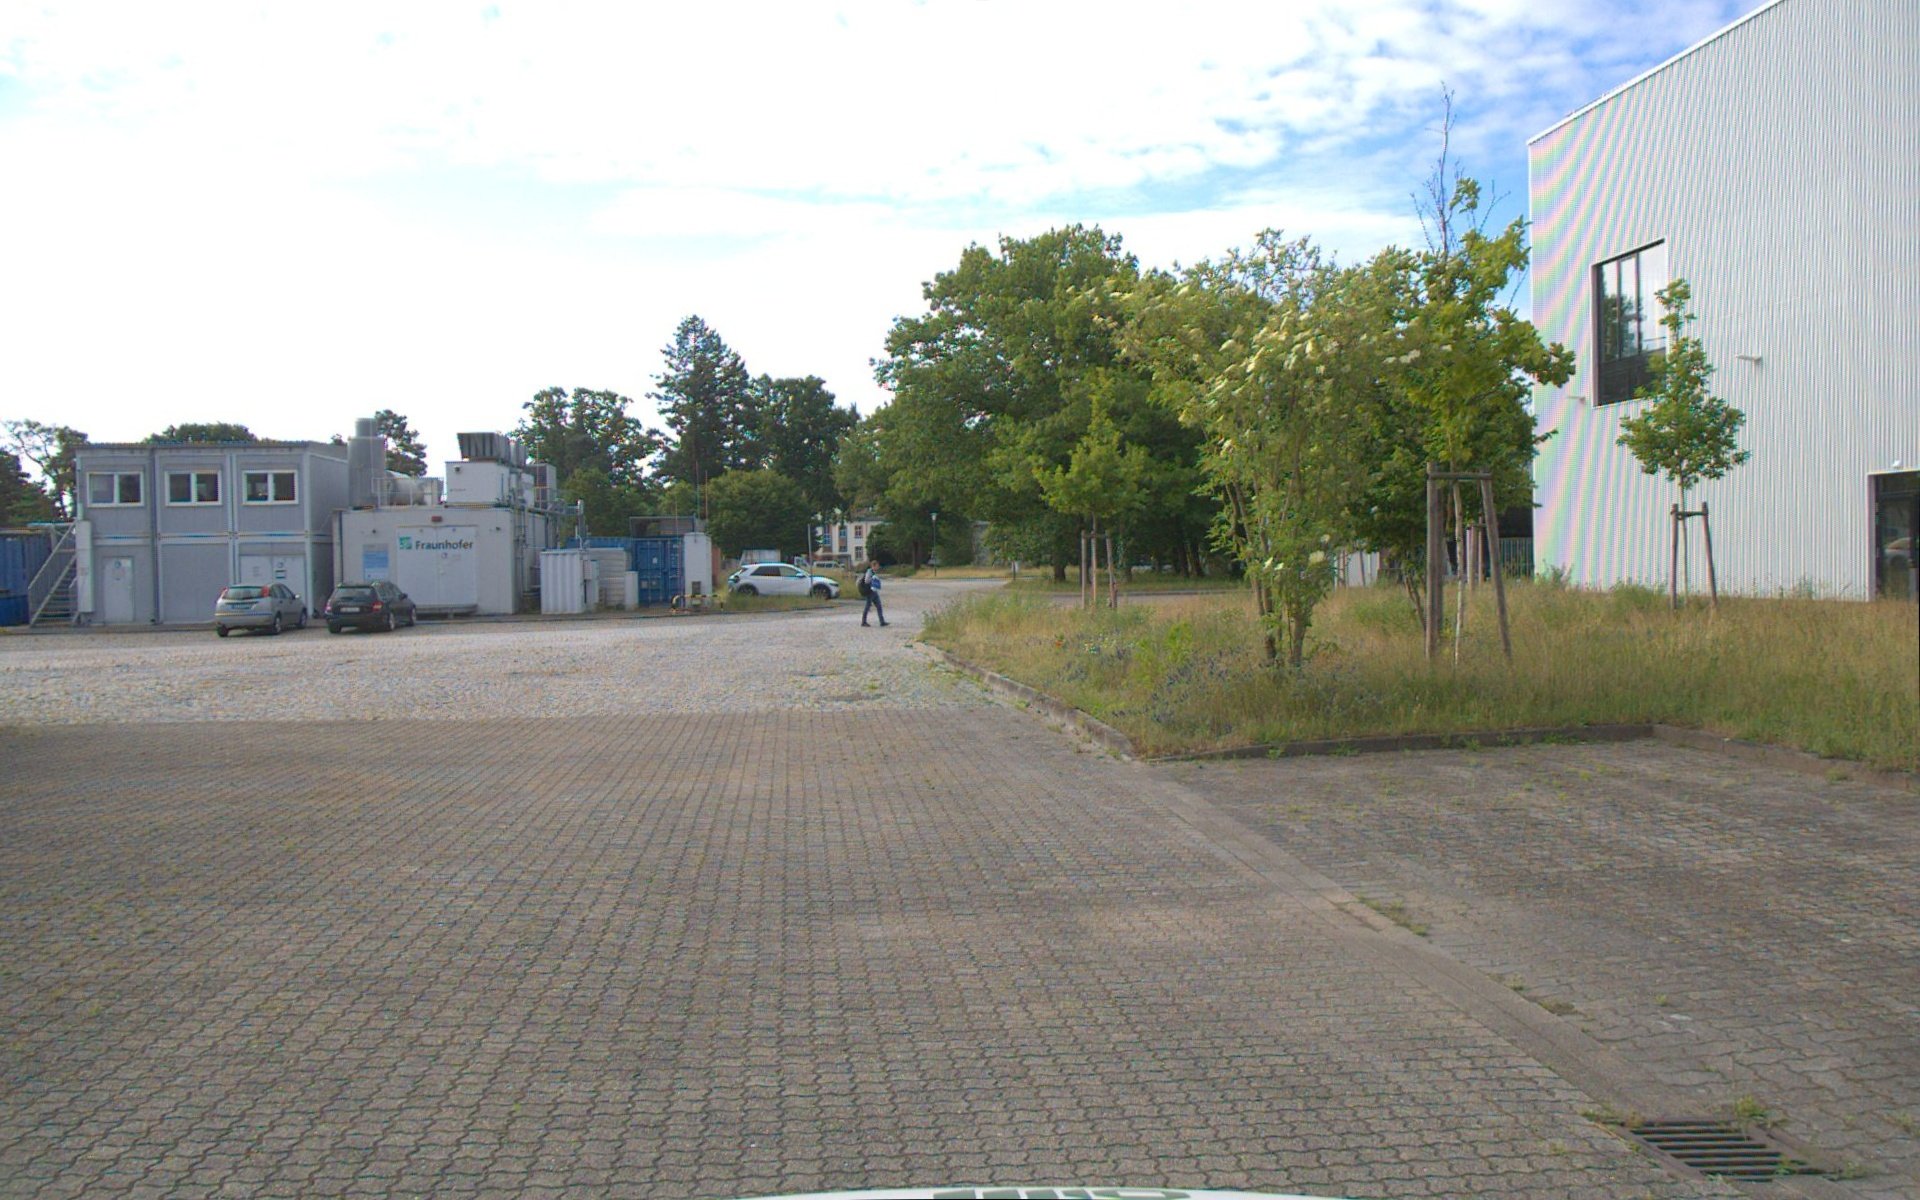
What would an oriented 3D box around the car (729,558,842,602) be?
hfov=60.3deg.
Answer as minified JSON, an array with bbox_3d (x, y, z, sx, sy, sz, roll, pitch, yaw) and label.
[{"bbox_3d":[-7.068,-0.828,67.416,4.444,1.627,1.999,-2,1,-4],"label":"car"}]

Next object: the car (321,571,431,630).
[{"bbox_3d":[-17.292,-0.029,49.208,1.997,1.478,4.525,-2,3,-6],"label":"car"}]

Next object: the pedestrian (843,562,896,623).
[{"bbox_3d":[-2.408,-0.208,44.203,1.053,1.583,1.076,-1,1,18],"label":"pedestrian"}]

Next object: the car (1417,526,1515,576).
[{"bbox_3d":[22.357,-2.150,73.341,2.199,2.048,5.329,-2,1,-7],"label":"car"}]

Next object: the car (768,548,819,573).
[{"bbox_3d":[-16.912,-4.008,168.380,5.071,2.378,1.998,-2,1,-6],"label":"car"}]

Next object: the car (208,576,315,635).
[{"bbox_3d":[-20.570,0.116,48.874,1.871,1.501,4.041,-2,3,-8],"label":"car"}]
